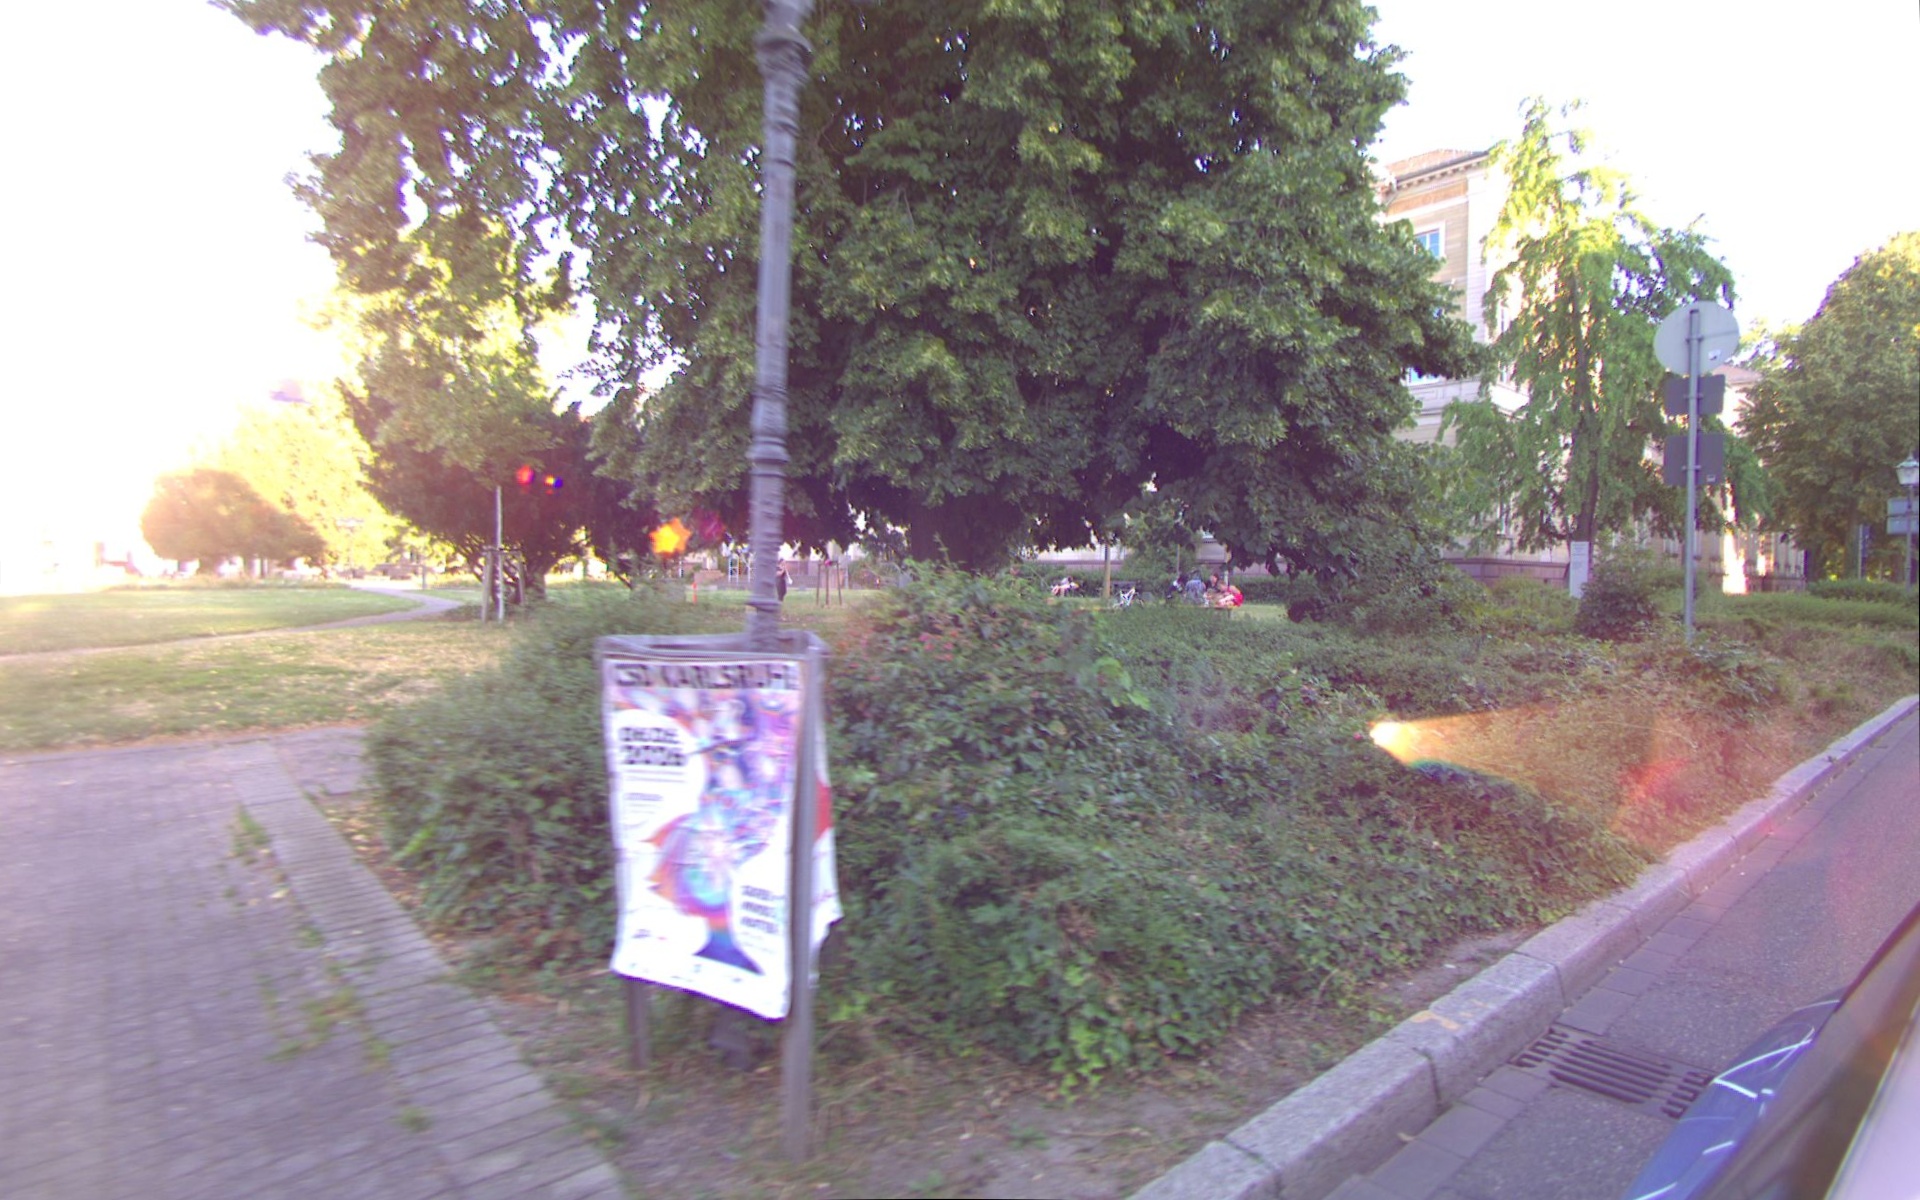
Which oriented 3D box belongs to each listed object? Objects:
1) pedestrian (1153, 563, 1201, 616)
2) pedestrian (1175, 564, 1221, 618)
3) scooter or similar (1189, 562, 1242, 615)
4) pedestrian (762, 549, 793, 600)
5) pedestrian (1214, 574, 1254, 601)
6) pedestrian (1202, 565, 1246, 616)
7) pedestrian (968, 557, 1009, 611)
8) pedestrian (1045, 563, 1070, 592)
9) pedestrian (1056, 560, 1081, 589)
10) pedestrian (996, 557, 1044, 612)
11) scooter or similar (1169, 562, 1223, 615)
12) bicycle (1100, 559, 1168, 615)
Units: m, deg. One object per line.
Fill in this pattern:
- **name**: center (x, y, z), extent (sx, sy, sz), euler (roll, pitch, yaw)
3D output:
- **pedestrian**: center (5.164, -0.263, 24.092), extent (0.775, 1.206, 0.809), euler (0, 2, -38)
- **pedestrian**: center (5.492, -0.219, 23.355), extent (0.733, 1.206, 0.724), euler (0, 2, -38)
- **scooter or similar**: center (6.382, -0.301, 25.291), extent (1.214, 1.261, 0.413), euler (3, 2, 37)
- **pedestrian**: center (-6.449, -0.908, 35.773), extent (0.746, 1.768, 0.771), euler (-1, 2, -44)
- **pedestrian**: center (6.372, -0.296, 23.508), extent (0.537, 0.556, 1.363), euler (6, 4, 29)
- **pedestrian**: center (6.364, -0.234, 24.398), extent (0.778, 1.206, 0.666), euler (1, 2, -13)
- **pedestrian**: center (0.755, -0.414, 26.352), extent (0.756, 1.364, 0.779), euler (2, 2, 33)
- **pedestrian**: center (4.795, -1.117, 49.902), extent (1.026, 1.414, 0.695), euler (0, 2, -41)
- **pedestrian**: center (5.266, -1.242, 49.133), extent (1.026, 1.414, 0.695), euler (0, 2, -41)
- **pedestrian**: center (1.543, -0.419, 25.971), extent (0.913, 1.364, 0.874), euler (2, 2, 34)
- **scooter or similar**: center (5.827, -0.306, 25.009), extent (1.212, 1.261, 0.413), euler (2, 2, 34)
- **bicycle**: center (4.294, -0.328, 24.880), extent (0.619, 1.316, 1.987), euler (3, 3, 44)
